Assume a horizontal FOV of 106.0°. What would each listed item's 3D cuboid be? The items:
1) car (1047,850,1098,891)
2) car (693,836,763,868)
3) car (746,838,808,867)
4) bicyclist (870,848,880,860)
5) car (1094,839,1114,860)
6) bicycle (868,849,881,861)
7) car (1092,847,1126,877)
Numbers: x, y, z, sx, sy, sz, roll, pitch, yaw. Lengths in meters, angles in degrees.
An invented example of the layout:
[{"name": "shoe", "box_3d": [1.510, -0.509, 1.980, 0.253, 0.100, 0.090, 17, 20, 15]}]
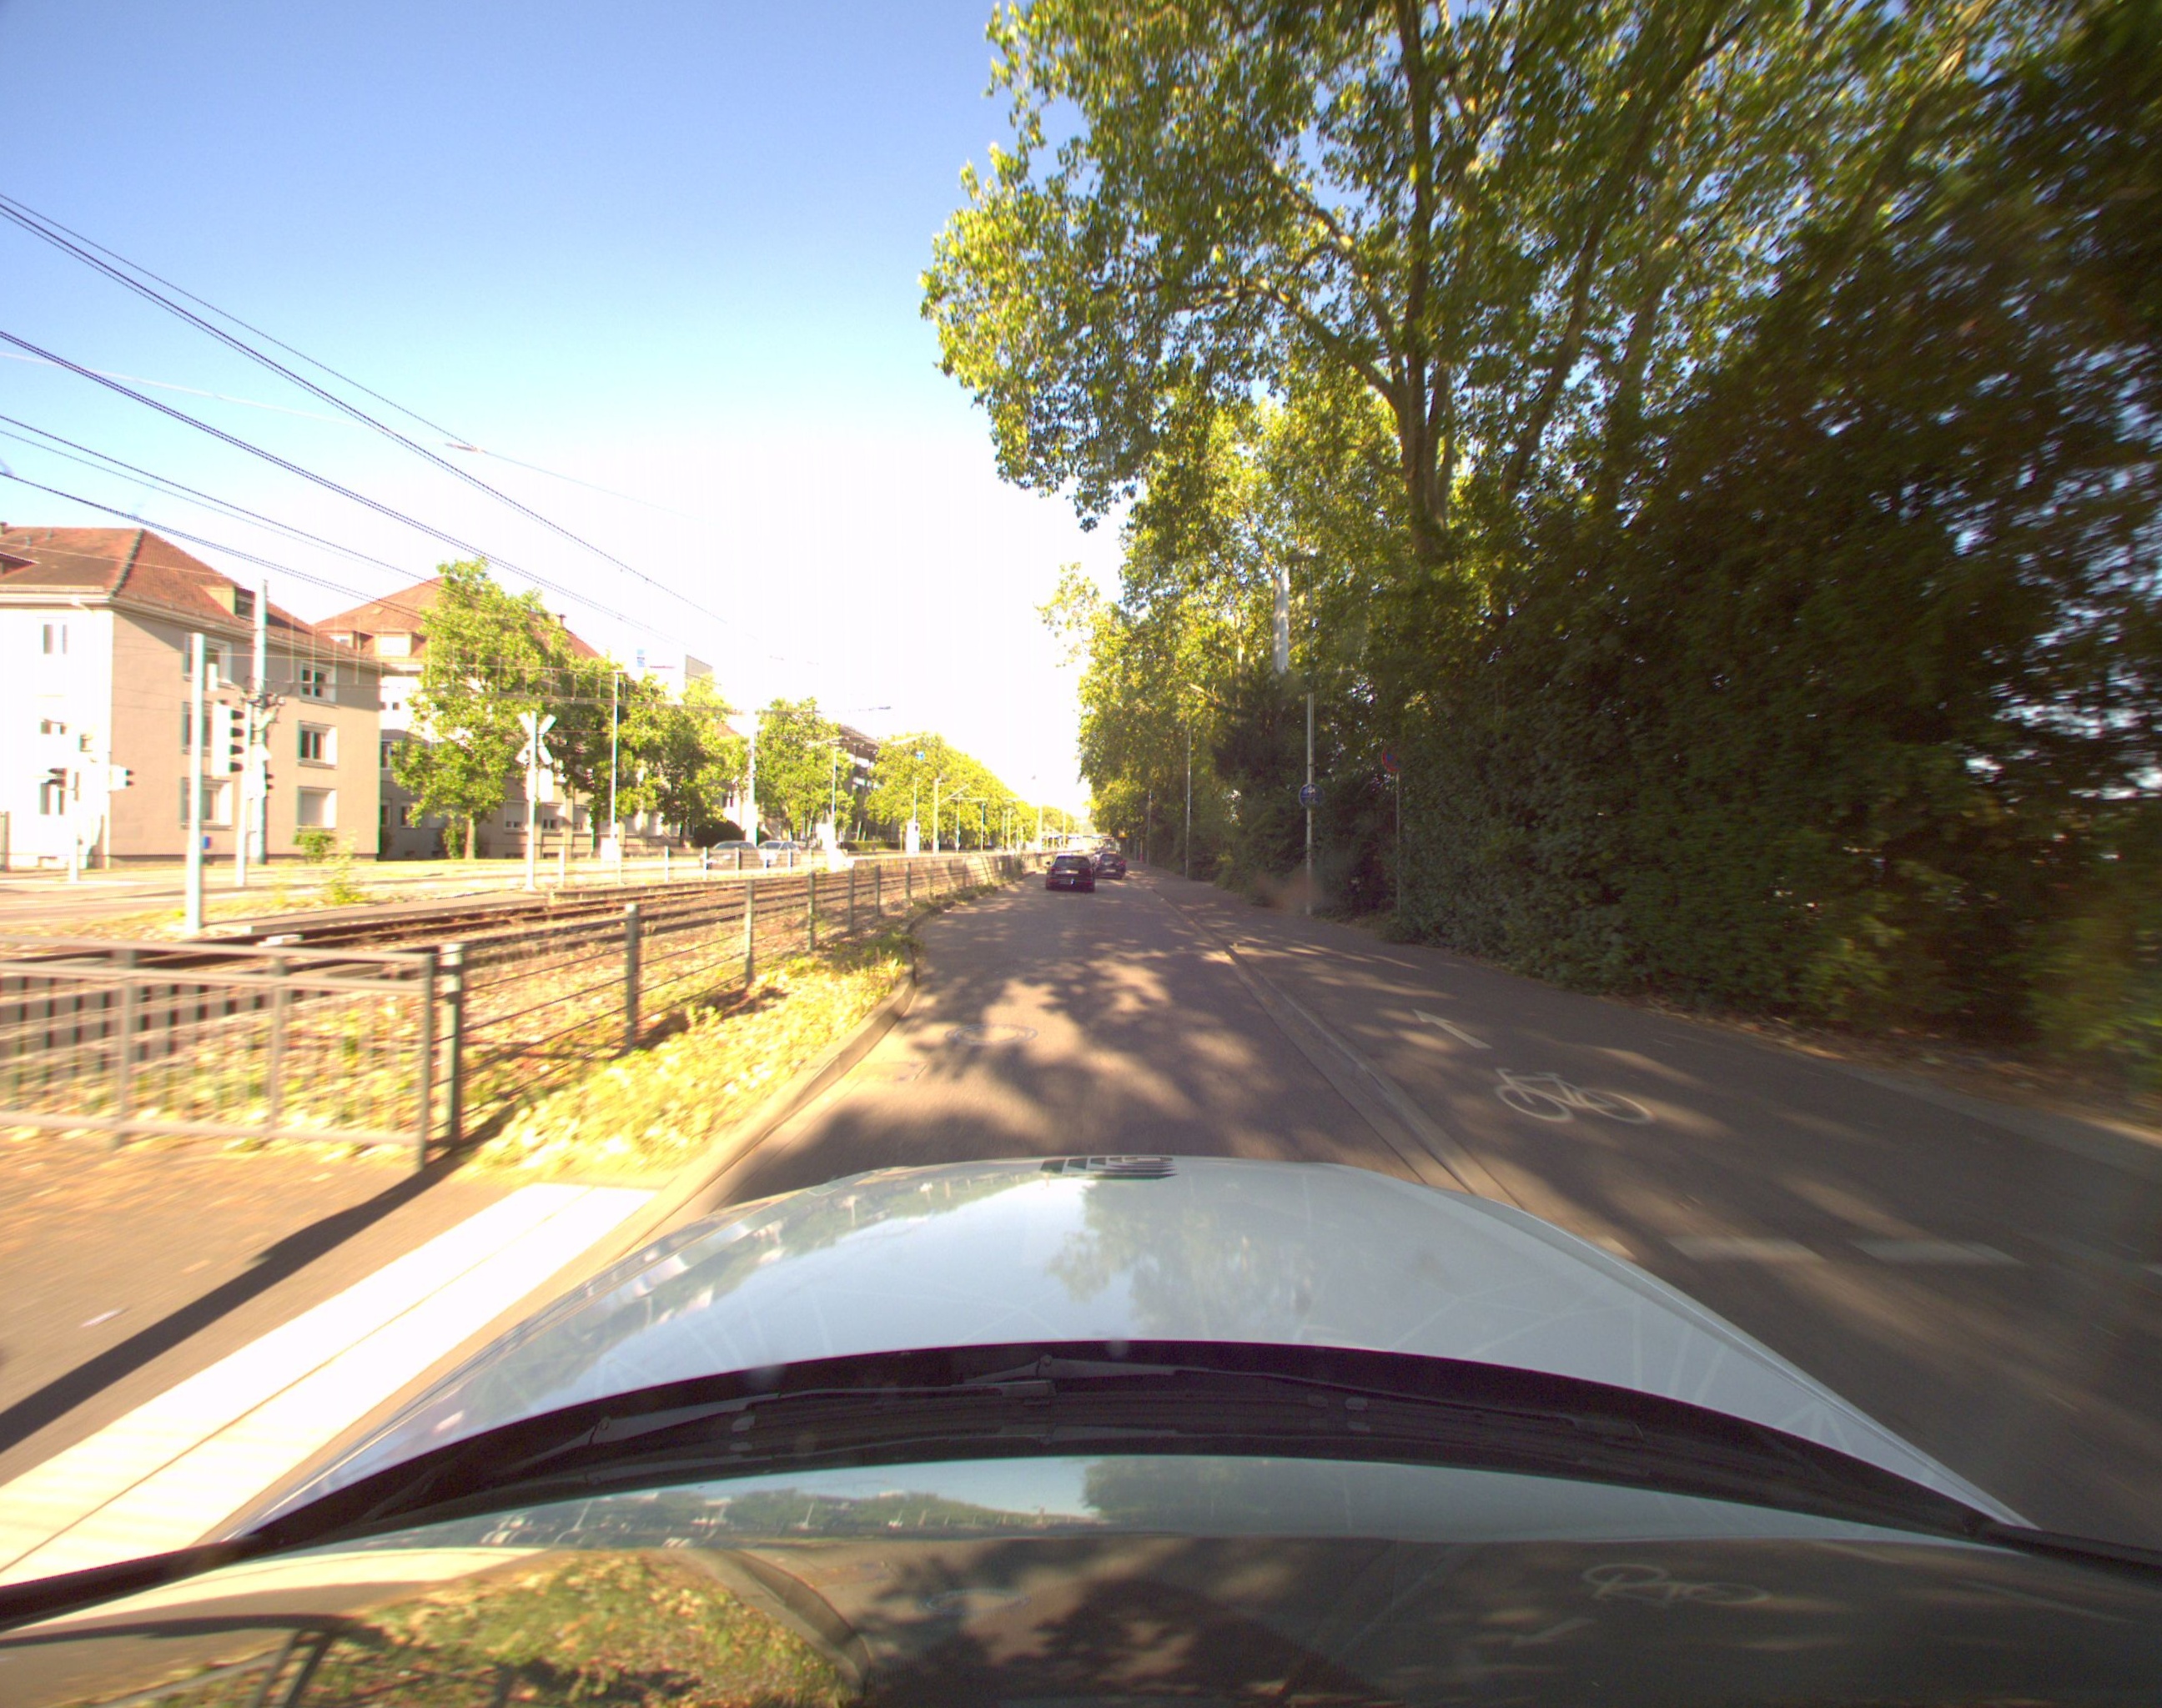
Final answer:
[{"name": "car", "box_3d": [-0.334, 0.586, 31.859, 1.872, 1.457, 3.356, 1, 1, -1]}, {"name": "car", "box_3d": [-18.209, -0.093, 42.207, 1.733, 1.547, 4.001, 2, 0, 1]}, {"name": "car", "box_3d": [-17.629, -0.083, 47.403, 1.986, 1.530, 4.002, 2, 0, 2]}, {"name": "bicyclist", "box_3d": [-27.131, 0.002, 107.151, 0.927, 1.486, 1.272, 1, 0, 0]}, {"name": "car", "box_3d": [2.308, -0.445, 81.545, 1.986, 2.013, 4.002, 1, 1, 2]}, {"name": "bicycle", "box_3d": [-27.235, 0.093, 107.308, 0.927, 1.486, 3.177, 1, 1, 0]}, {"name": "car", "box_3d": [1.563, 0.434, 46.476, 1.757, 1.619, 3.999, 1, 1, -1]}]
